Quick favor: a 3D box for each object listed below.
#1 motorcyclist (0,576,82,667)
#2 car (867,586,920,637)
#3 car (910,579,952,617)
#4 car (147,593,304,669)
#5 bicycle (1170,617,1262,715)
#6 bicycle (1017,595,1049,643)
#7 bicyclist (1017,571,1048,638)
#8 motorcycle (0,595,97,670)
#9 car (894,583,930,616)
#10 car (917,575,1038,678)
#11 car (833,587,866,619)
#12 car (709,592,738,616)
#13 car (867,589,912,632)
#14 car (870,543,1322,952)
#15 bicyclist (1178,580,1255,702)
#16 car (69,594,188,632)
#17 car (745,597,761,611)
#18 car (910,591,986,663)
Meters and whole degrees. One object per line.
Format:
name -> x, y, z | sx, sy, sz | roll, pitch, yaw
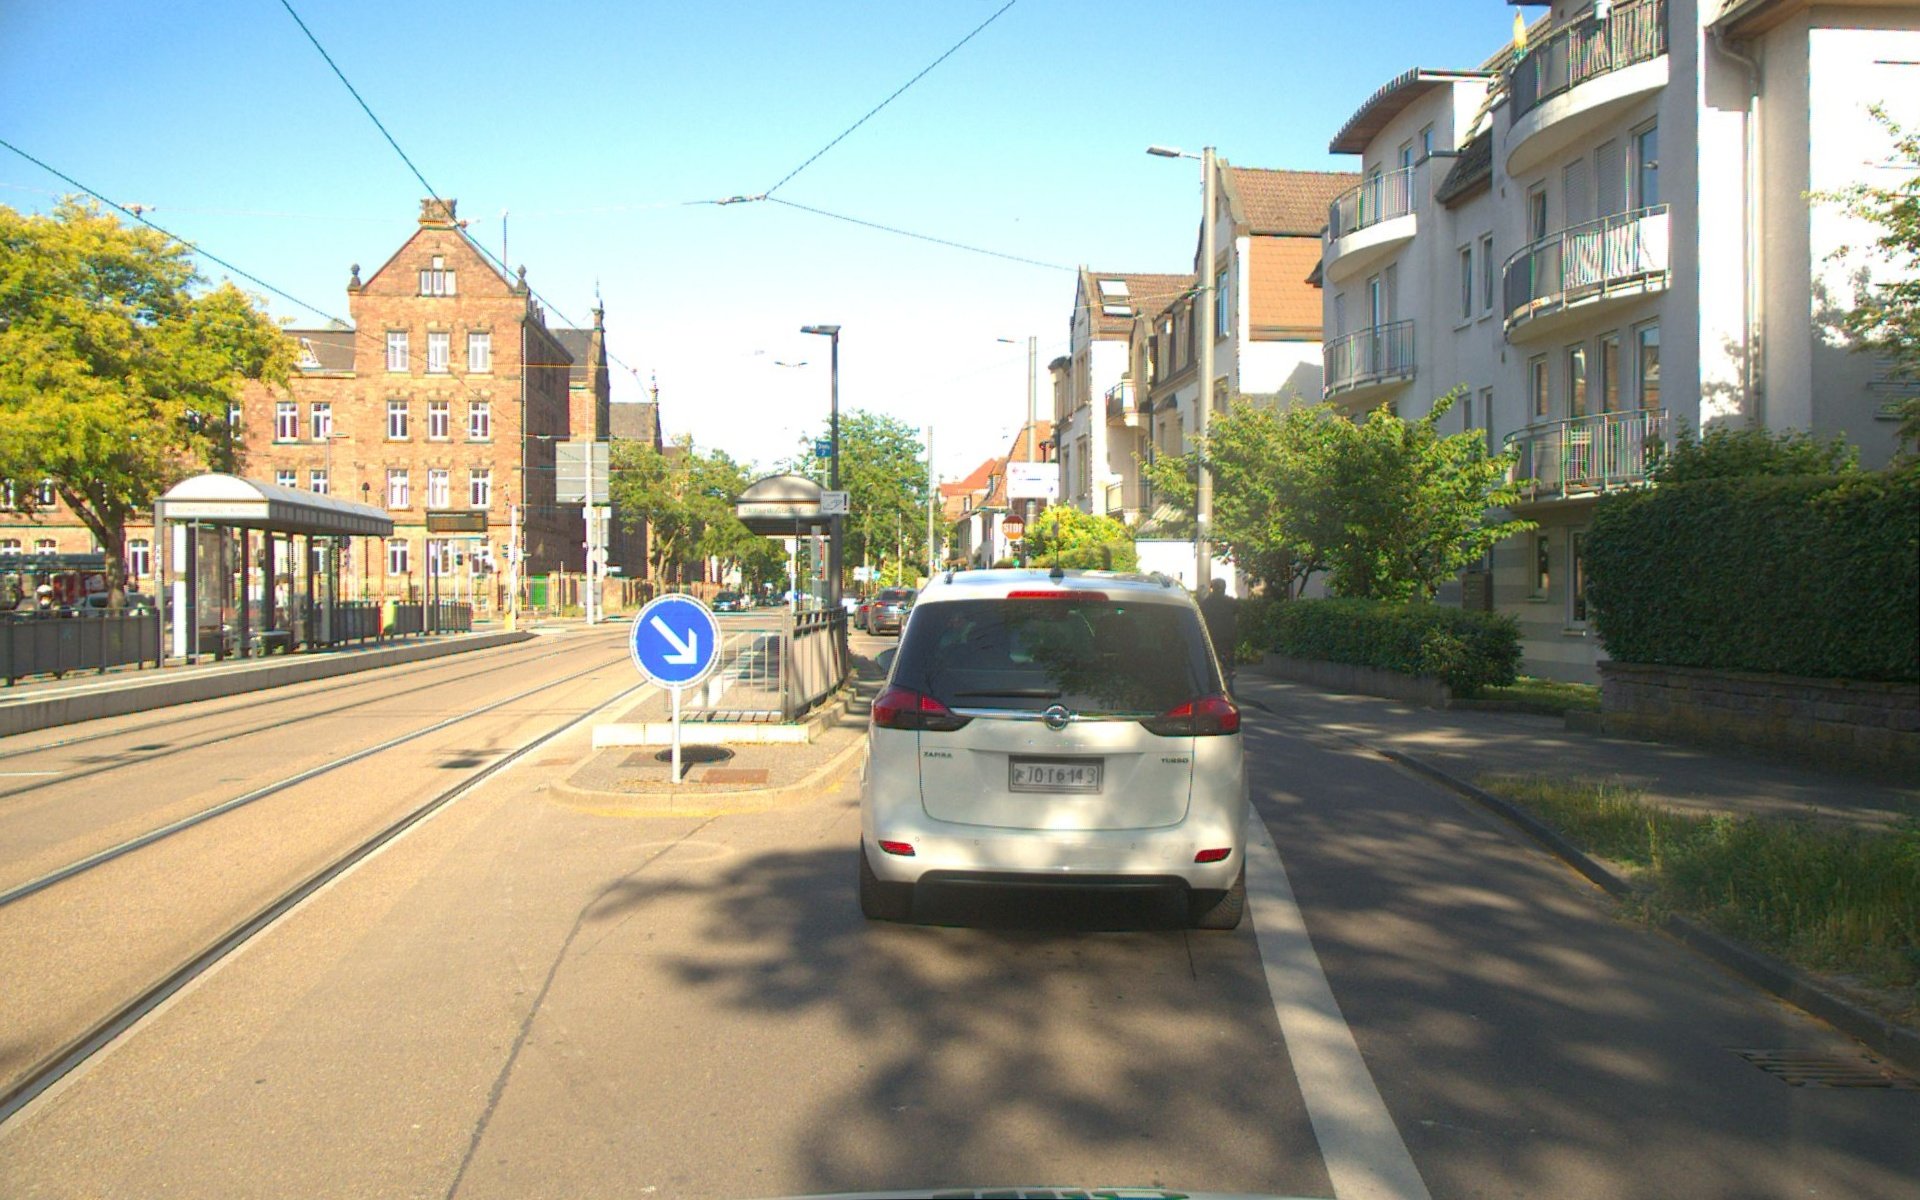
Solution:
motorcyclist -> -16.212, 0.372, 29.019 | 1.104, 1.552, 1.053 | 0, 0, -9
car -> -2.285, 0.387, 56.612 | 1.740, 1.660, 3.878 | 0, 0, -3
car -> -1.319, -0.066, 74.532 | 1.740, 1.660, 3.878 | 0, 0, -3
car -> -16.651, 0.750, 37.709 | 1.819, 1.427, 3.980 | -6, -3, -3
bicycle -> 3.256, 0.811, 21.206 | 0.812, 1.175, 2.094 | 0, 0, -1
bicycle -> 1.831, 0.462, 41.632 | 0.672, 1.177, 1.618 | 0, 0, -3
bicyclist -> 1.826, 0.108, 41.696 | 0.672, 1.663, 1.015 | 0, 0, -3
motorcycle -> -16.214, 0.551, 28.996 | 1.109, 1.265, 2.568 | 0, 0, -9
car -> -2.514, -0.043, 85.585 | 1.740, 1.660, 3.878 | 0, 0, -3
car -> 0.231, 0.441, 28.838 | 1.741, 1.660, 3.876 | 0, 0, -5
car -> -5.999, 0.167, 90.189 | 1.740, 1.722, 3.878 | 0, 0, -3
car -> -17.580, 0.299, 123.016 | 1.869, 1.706, 4.353 | 0, 0, -5
car -> -2.802, 0.409, 65.936 | 1.740, 1.660, 3.878 | 0, 0, -2
car -> 0.467, 0.613, 8.796 | 1.799, 1.670, 3.915 | 0, 0, -4
bicyclist -> 3.261, 0.513, 21.088 | 0.804, 1.528, 0.934 | 0, 0, -2
car -> -34.775, 0.521, 69.231 | 3.983, 1.548, 1.876 | 0, 0, -3
car -> -25.765, 0.451, 205.650 | 1.870, 1.706, 3.995 | 0, 0, -6
car -> -0.331, 0.626, 39.877 | 1.740, 1.660, 3.879 | 0, 0, -2
